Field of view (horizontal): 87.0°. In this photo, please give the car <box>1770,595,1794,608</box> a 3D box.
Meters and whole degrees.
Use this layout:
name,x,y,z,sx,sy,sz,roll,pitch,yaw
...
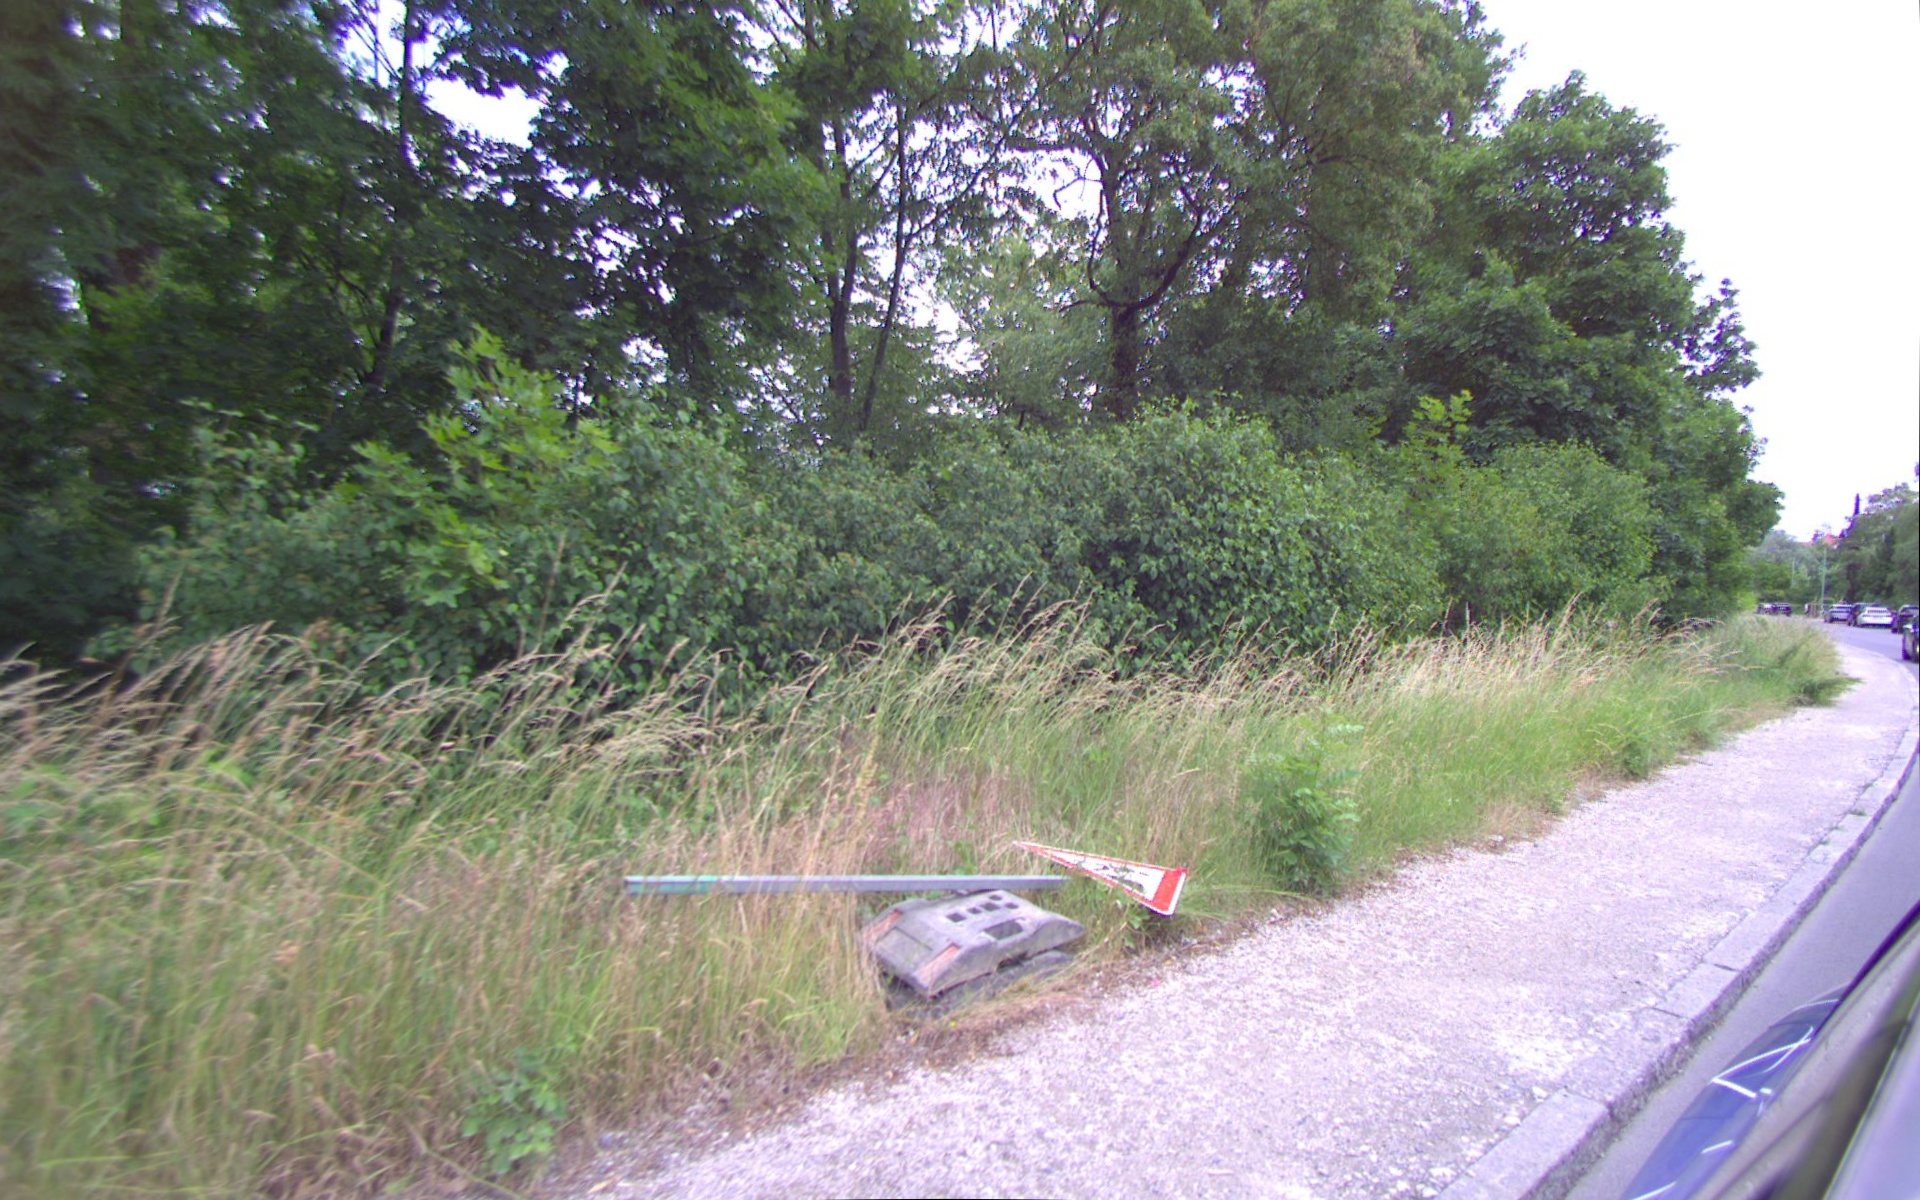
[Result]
name,x,y,z,sx,sy,sz,roll,pitch,yaw
car,111.919,0.176,137.832,1.909,1.701,4.147,1,1,32

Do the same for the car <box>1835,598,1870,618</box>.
name,x,y,z,sx,sy,sz,roll,pitch,yaw
car,76.967,0.645,87.330,1.791,1.627,4.669,2,1,36

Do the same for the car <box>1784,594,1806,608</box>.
name,x,y,z,sx,sy,sz,roll,pitch,yaw
car,106.202,0.113,128.804,1.913,1.701,4.139,2,1,37

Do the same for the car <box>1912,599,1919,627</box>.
name,x,y,z,sx,sy,sz,roll,pitch,yaw
car,57.945,0.789,59.856,1.787,1.685,4.335,1,1,36

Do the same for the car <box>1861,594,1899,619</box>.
name,x,y,z,sx,sy,sz,roll,pitch,yaw
car,69.789,0.483,76.830,1.703,1.822,4.240,1,1,37

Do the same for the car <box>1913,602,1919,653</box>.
name,x,y,z,sx,sy,sz,roll,pitch,yaw
car,28.640,0.841,28.893,1.704,1.493,4.136,2,1,39

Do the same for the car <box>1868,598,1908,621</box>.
name,x,y,z,sx,sy,sz,roll,pitch,yaw
car,66.184,0.631,72.229,1.703,1.530,4.492,2,1,38
